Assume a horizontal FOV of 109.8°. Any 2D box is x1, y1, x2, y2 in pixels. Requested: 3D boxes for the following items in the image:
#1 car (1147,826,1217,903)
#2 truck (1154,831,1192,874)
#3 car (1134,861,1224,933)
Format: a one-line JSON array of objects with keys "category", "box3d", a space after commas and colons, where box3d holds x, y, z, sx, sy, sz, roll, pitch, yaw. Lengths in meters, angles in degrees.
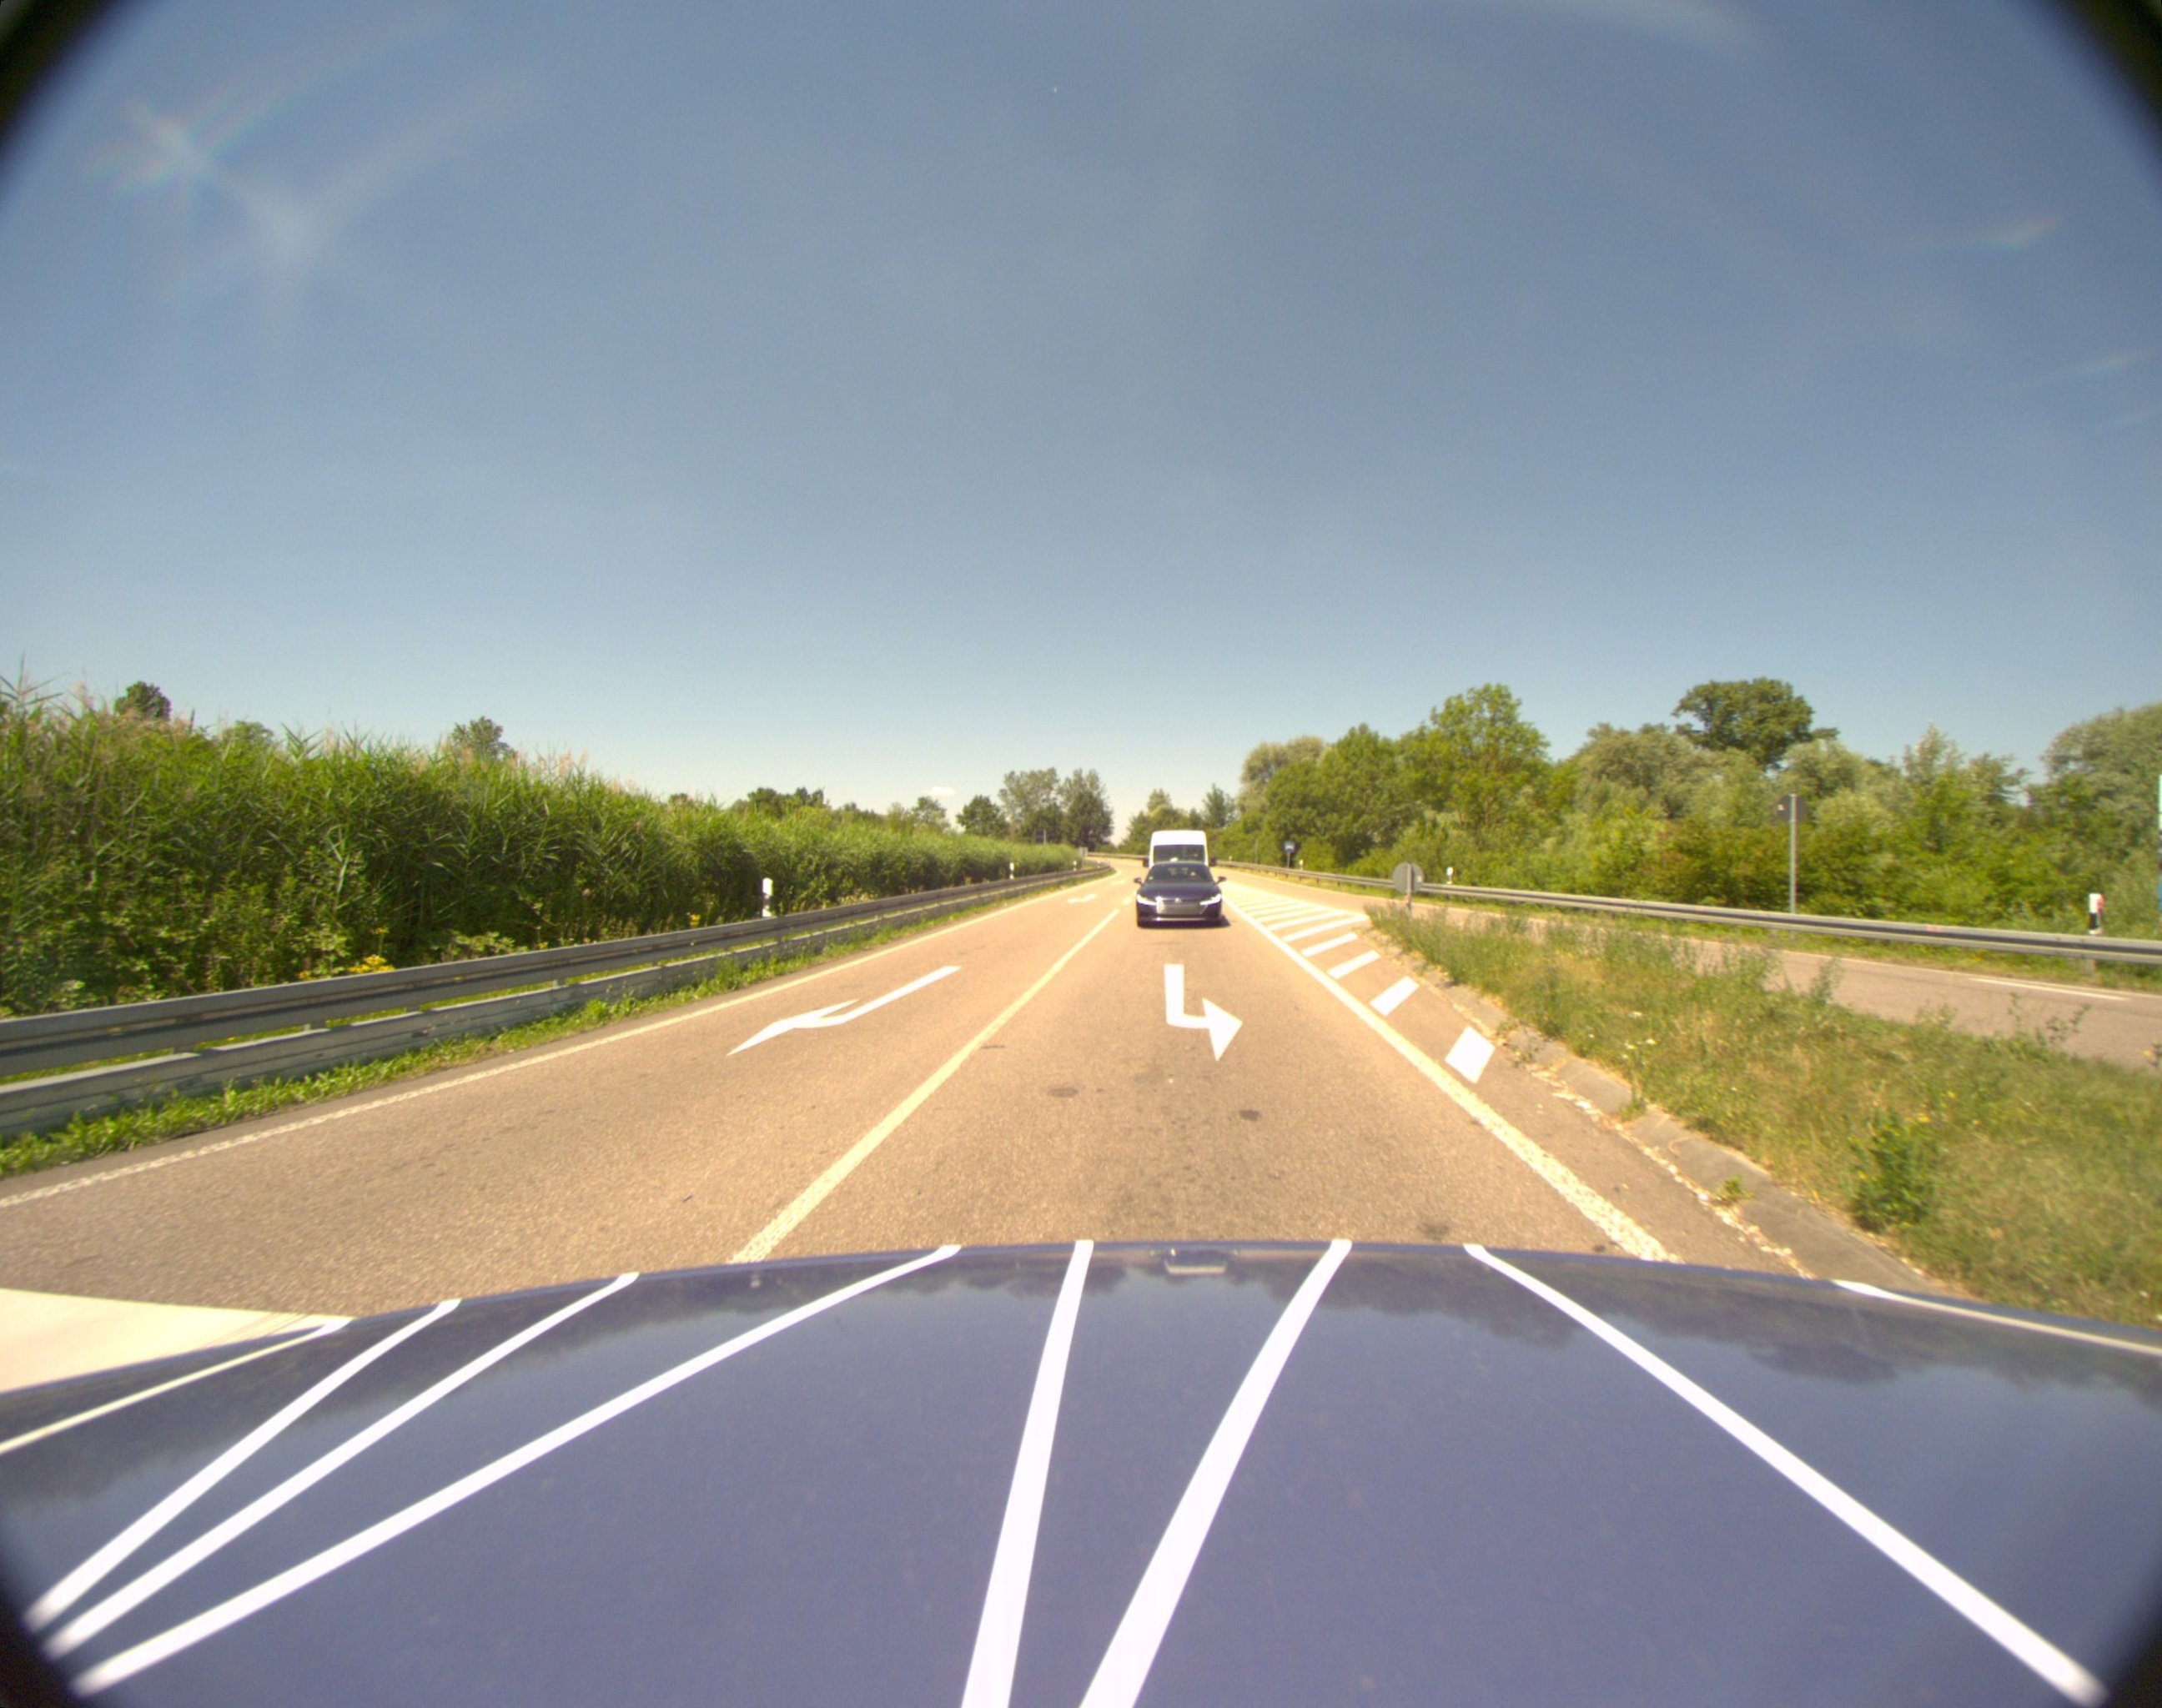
[{"category": "car", "box3d": [3.697, 0.353, 27.650, 2.226, 2.480, 5.986, -1, 0, 8]}, {"category": "truck", "box3d": [7.335, -0.086, 61.664, 2.692, 3.177, 9.180, 1, 0, 5]}, {"category": "car", "box3d": [2.320, 0.899, 17.898, 1.846, 1.414, 4.565, 0, 0, 8]}]
